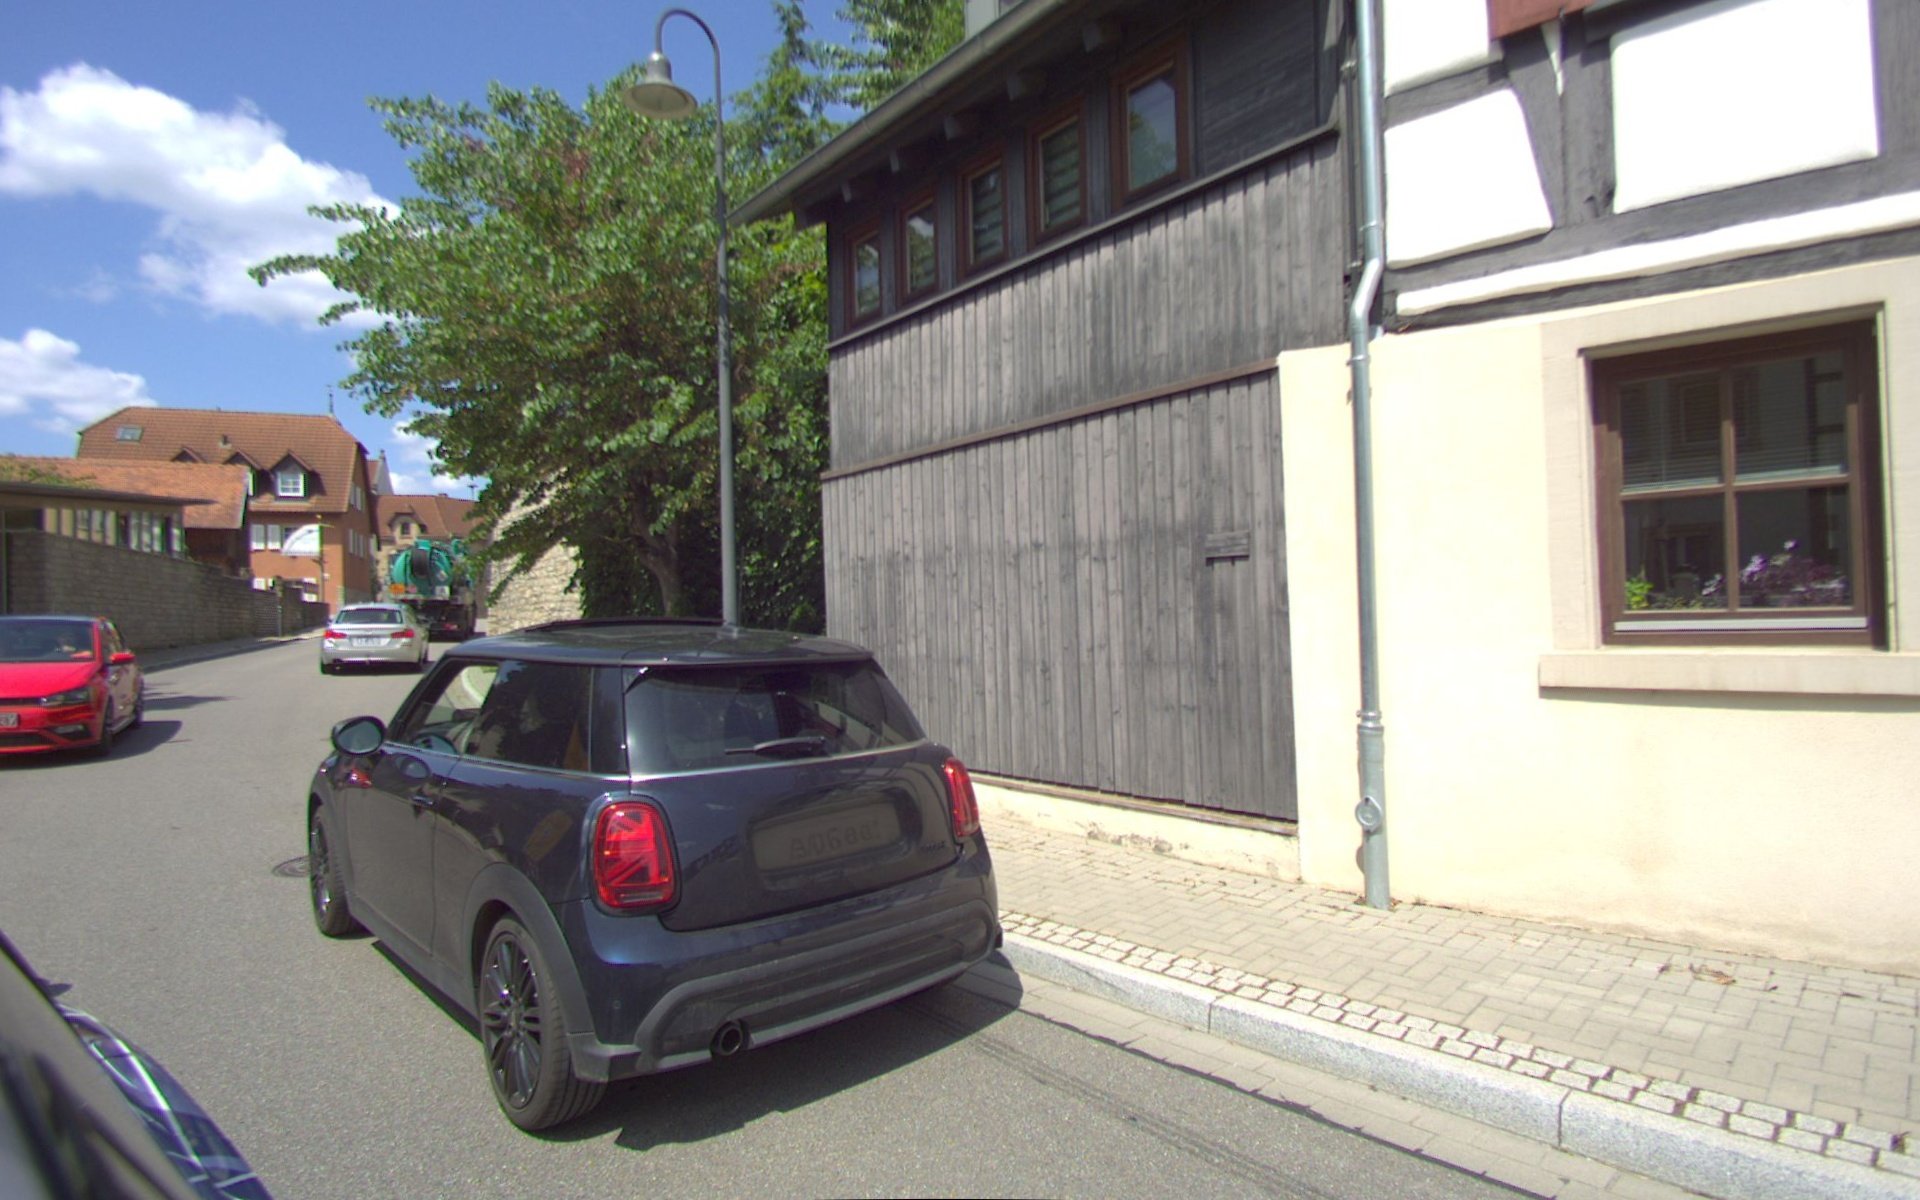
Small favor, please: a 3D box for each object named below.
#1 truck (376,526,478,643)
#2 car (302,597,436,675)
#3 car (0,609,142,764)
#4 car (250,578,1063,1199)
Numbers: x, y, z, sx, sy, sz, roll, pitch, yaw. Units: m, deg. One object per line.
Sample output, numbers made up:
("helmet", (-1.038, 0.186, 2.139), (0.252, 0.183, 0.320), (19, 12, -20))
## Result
("truck", (-19.287, -0.538, 37.070), (2.377, 3.685, 9.599), (2, 0, -23))
("car", (-12.912, 0.708, 22.395), (1.868, 1.511, 4.629), (0, 0, -22))
("car", (-9.770, 0.792, 10.500), (1.643, 1.362, 3.504), (0, 0, -33))
("car", (-1.778, 0.680, 4.565), (1.679, 1.476, 4.439), (-1, 1, -44))
